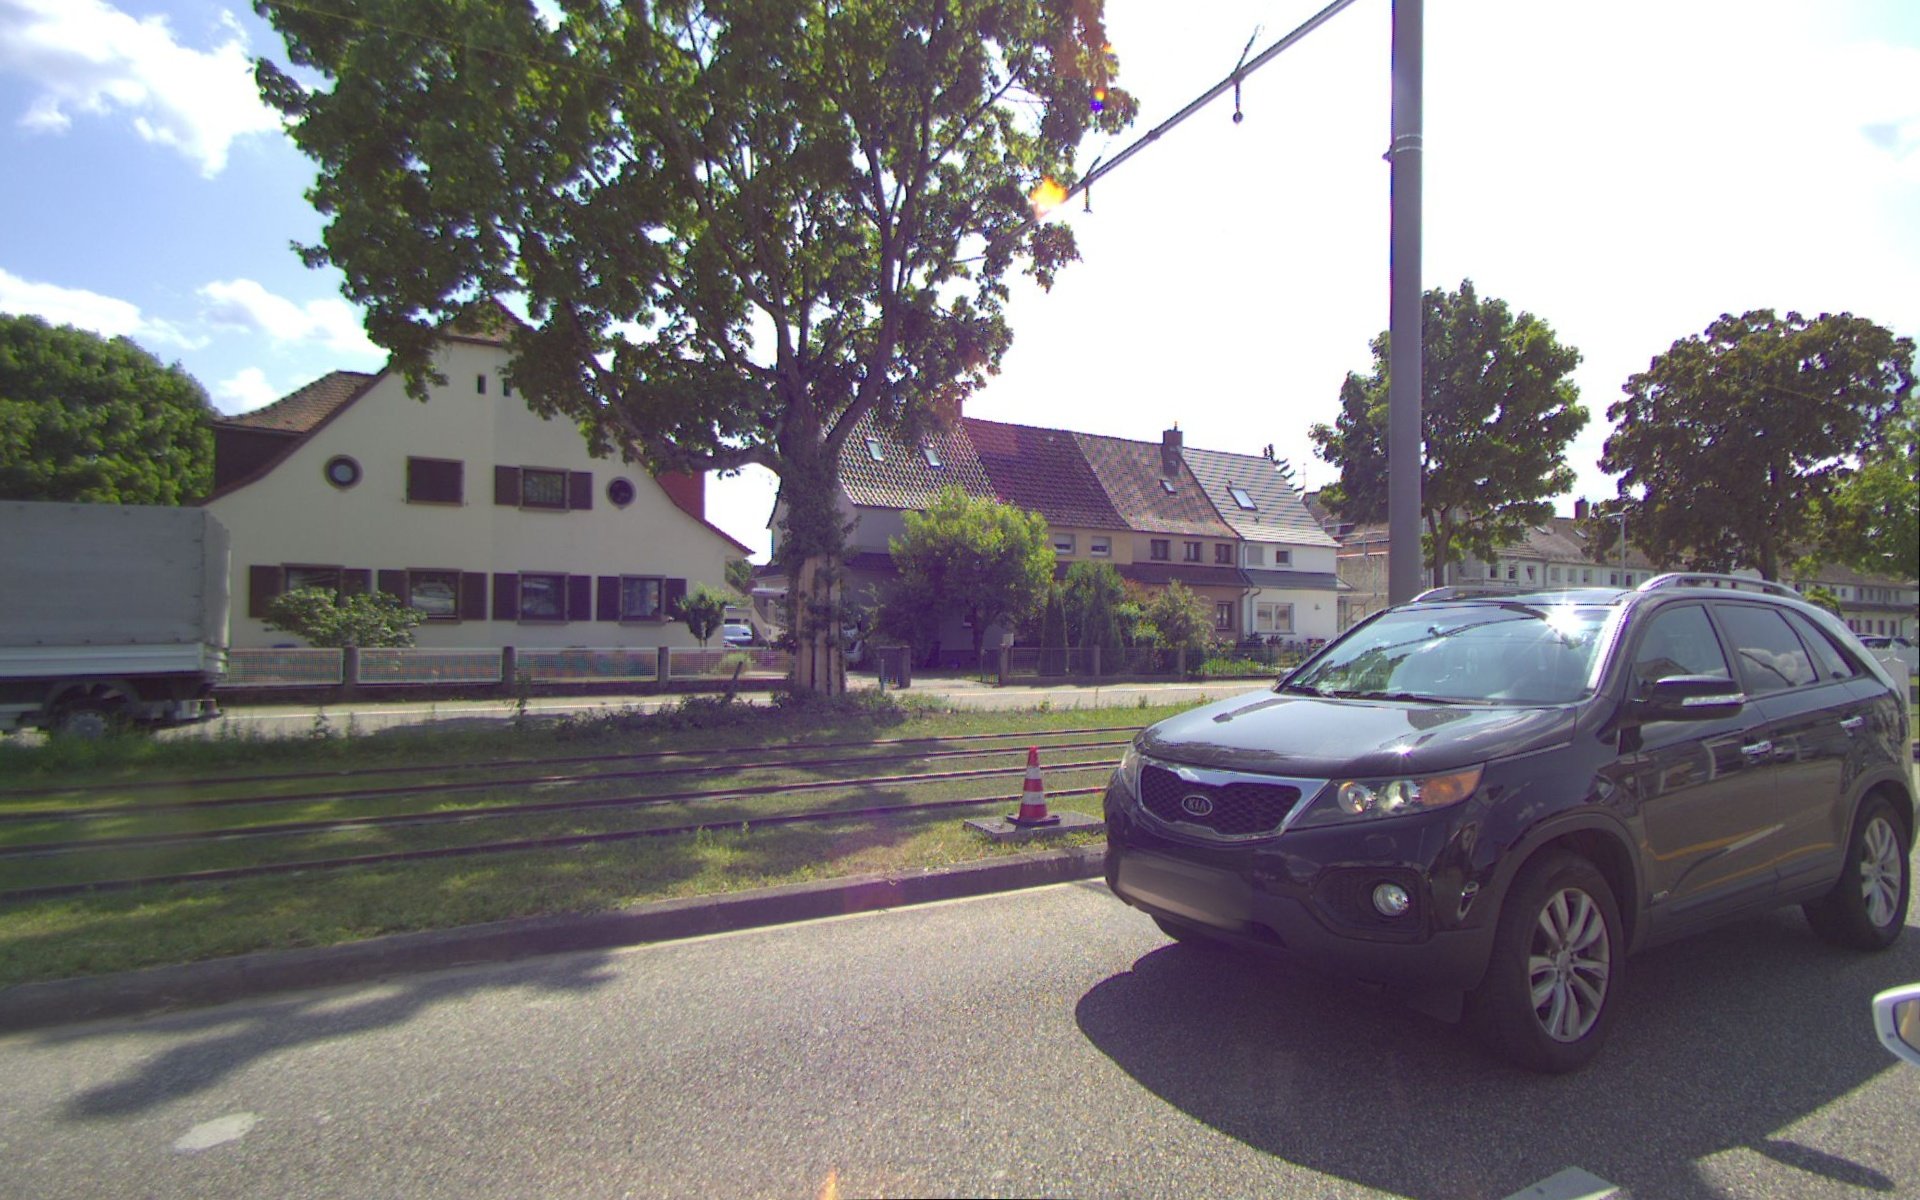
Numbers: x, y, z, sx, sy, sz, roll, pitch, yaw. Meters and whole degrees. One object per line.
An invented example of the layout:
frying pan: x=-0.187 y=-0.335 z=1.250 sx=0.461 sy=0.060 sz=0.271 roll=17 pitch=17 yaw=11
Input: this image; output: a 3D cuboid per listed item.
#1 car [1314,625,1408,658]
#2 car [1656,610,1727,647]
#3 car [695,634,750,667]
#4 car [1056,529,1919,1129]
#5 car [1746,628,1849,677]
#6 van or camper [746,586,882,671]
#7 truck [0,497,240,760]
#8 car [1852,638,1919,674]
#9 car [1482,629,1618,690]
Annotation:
car: x=17.006 y=1.778 z=42.580 sx=4.072 sy=1.291 sz=1.527 roll=2 pitch=-3 yaw=-30
car: x=43.596 y=1.697 z=59.834 sx=3.954 sy=2.040 sz=1.983 roll=2 pitch=0 yaw=-31
car: x=-9.823 y=2.058 z=41.451 sx=1.330 sy=1.189 sz=2.846 roll=2 pitch=0 yaw=-33
car: x=2.661 y=0.731 z=4.748 sx=4.172 sy=1.712 sz=1.788 roll=1 pitch=-3 yaw=-31
car: x=30.211 y=1.902 z=36.211 sx=3.854 sy=1.673 sz=1.615 roll=2 pitch=-3 yaw=-30
van or camper: x=-5.239 y=0.913 z=35.013 sx=2.470 sy=2.667 sz=6.303 roll=2 pitch=0 yaw=-30
truck: x=-11.918 y=0.262 z=11.323 sx=5.881 sy=2.842 sz=2.353 roll=2 pitch=0 yaw=-30
car: x=37.383 y=2.268 z=40.387 sx=3.078 sy=1.395 sz=1.344 roll=2 pitch=-3 yaw=-30
car: x=16.893 y=1.692 z=28.740 sx=3.954 sy=1.647 sz=1.645 roll=2 pitch=-3 yaw=-30
